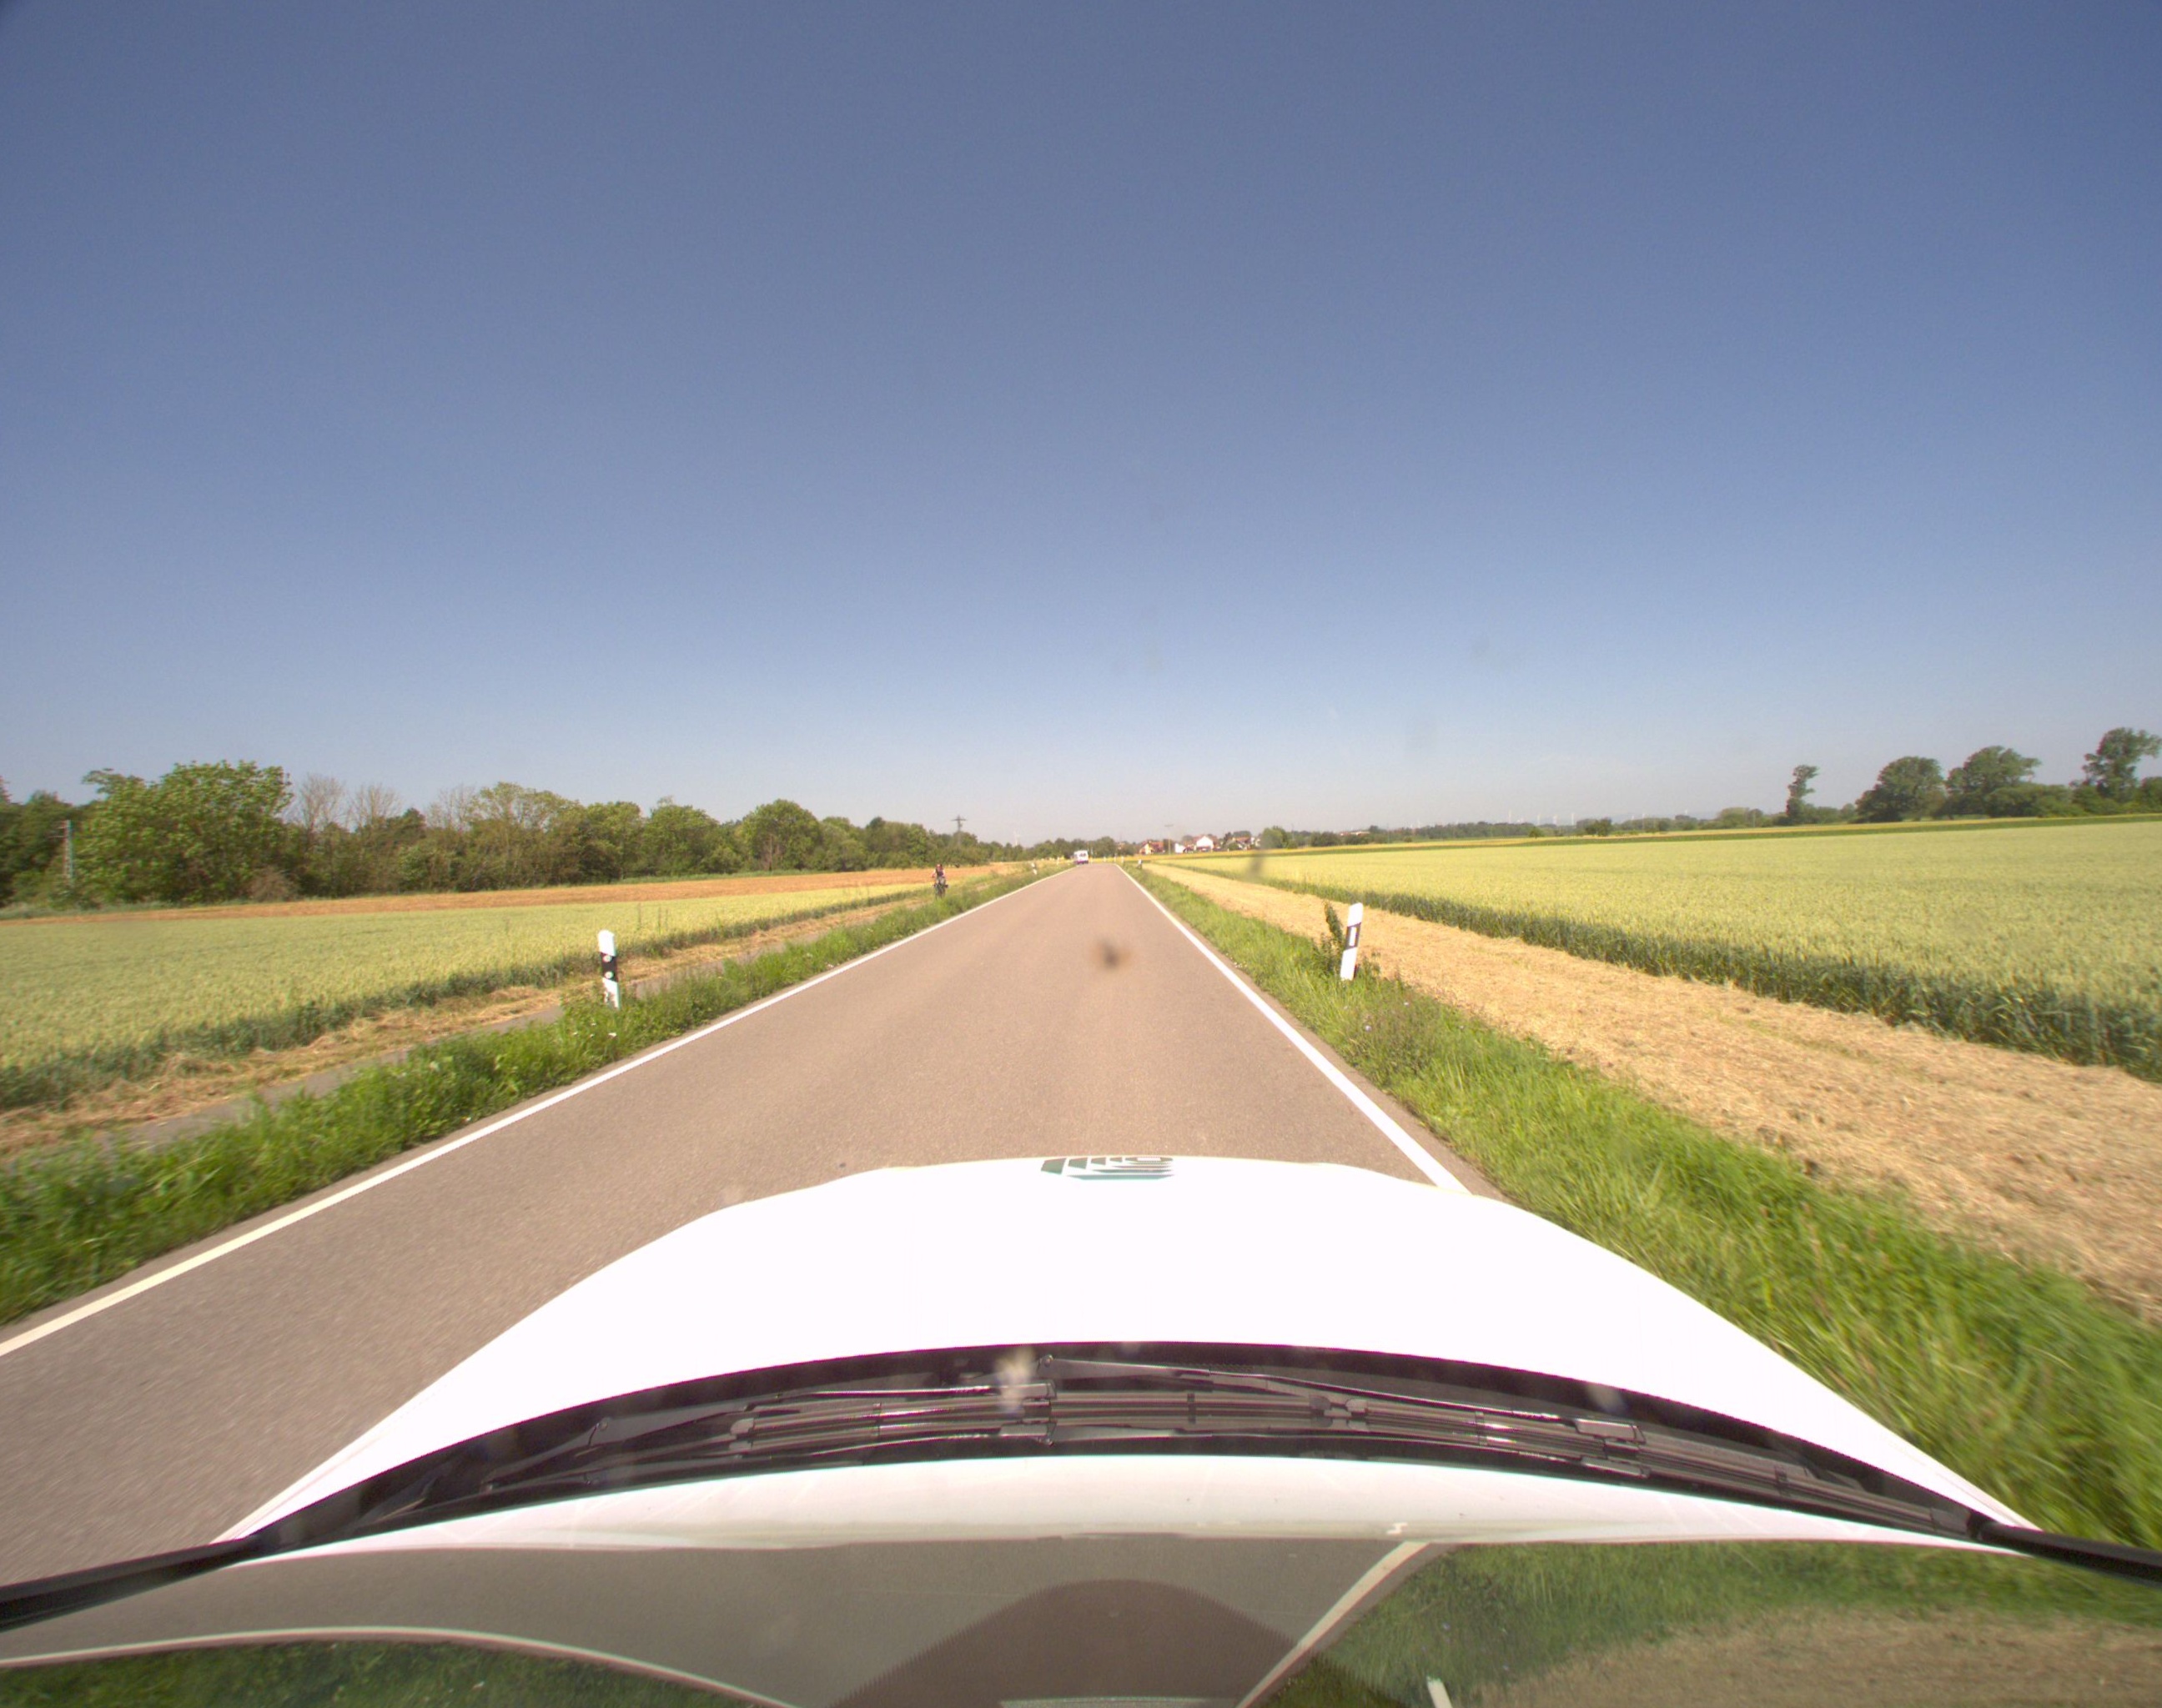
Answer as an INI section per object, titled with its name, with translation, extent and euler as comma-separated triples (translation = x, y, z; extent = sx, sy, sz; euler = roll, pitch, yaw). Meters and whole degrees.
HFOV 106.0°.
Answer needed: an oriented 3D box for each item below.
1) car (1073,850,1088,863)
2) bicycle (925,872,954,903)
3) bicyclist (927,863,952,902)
[car]
translation = -0.112, 0.486, 151.303
extent = 2.106, 2.304, 5.479
euler = -1, 0, -8
[bicycle]
translation = -6.302, 1.459, 36.424
extent = 0.756, 1.236, 2.395
euler = -4, 0, 2
[bicyclist]
translation = -6.311, 1.254, 36.347
extent = 0.757, 1.672, 1.089
euler = -4, 0, 1
